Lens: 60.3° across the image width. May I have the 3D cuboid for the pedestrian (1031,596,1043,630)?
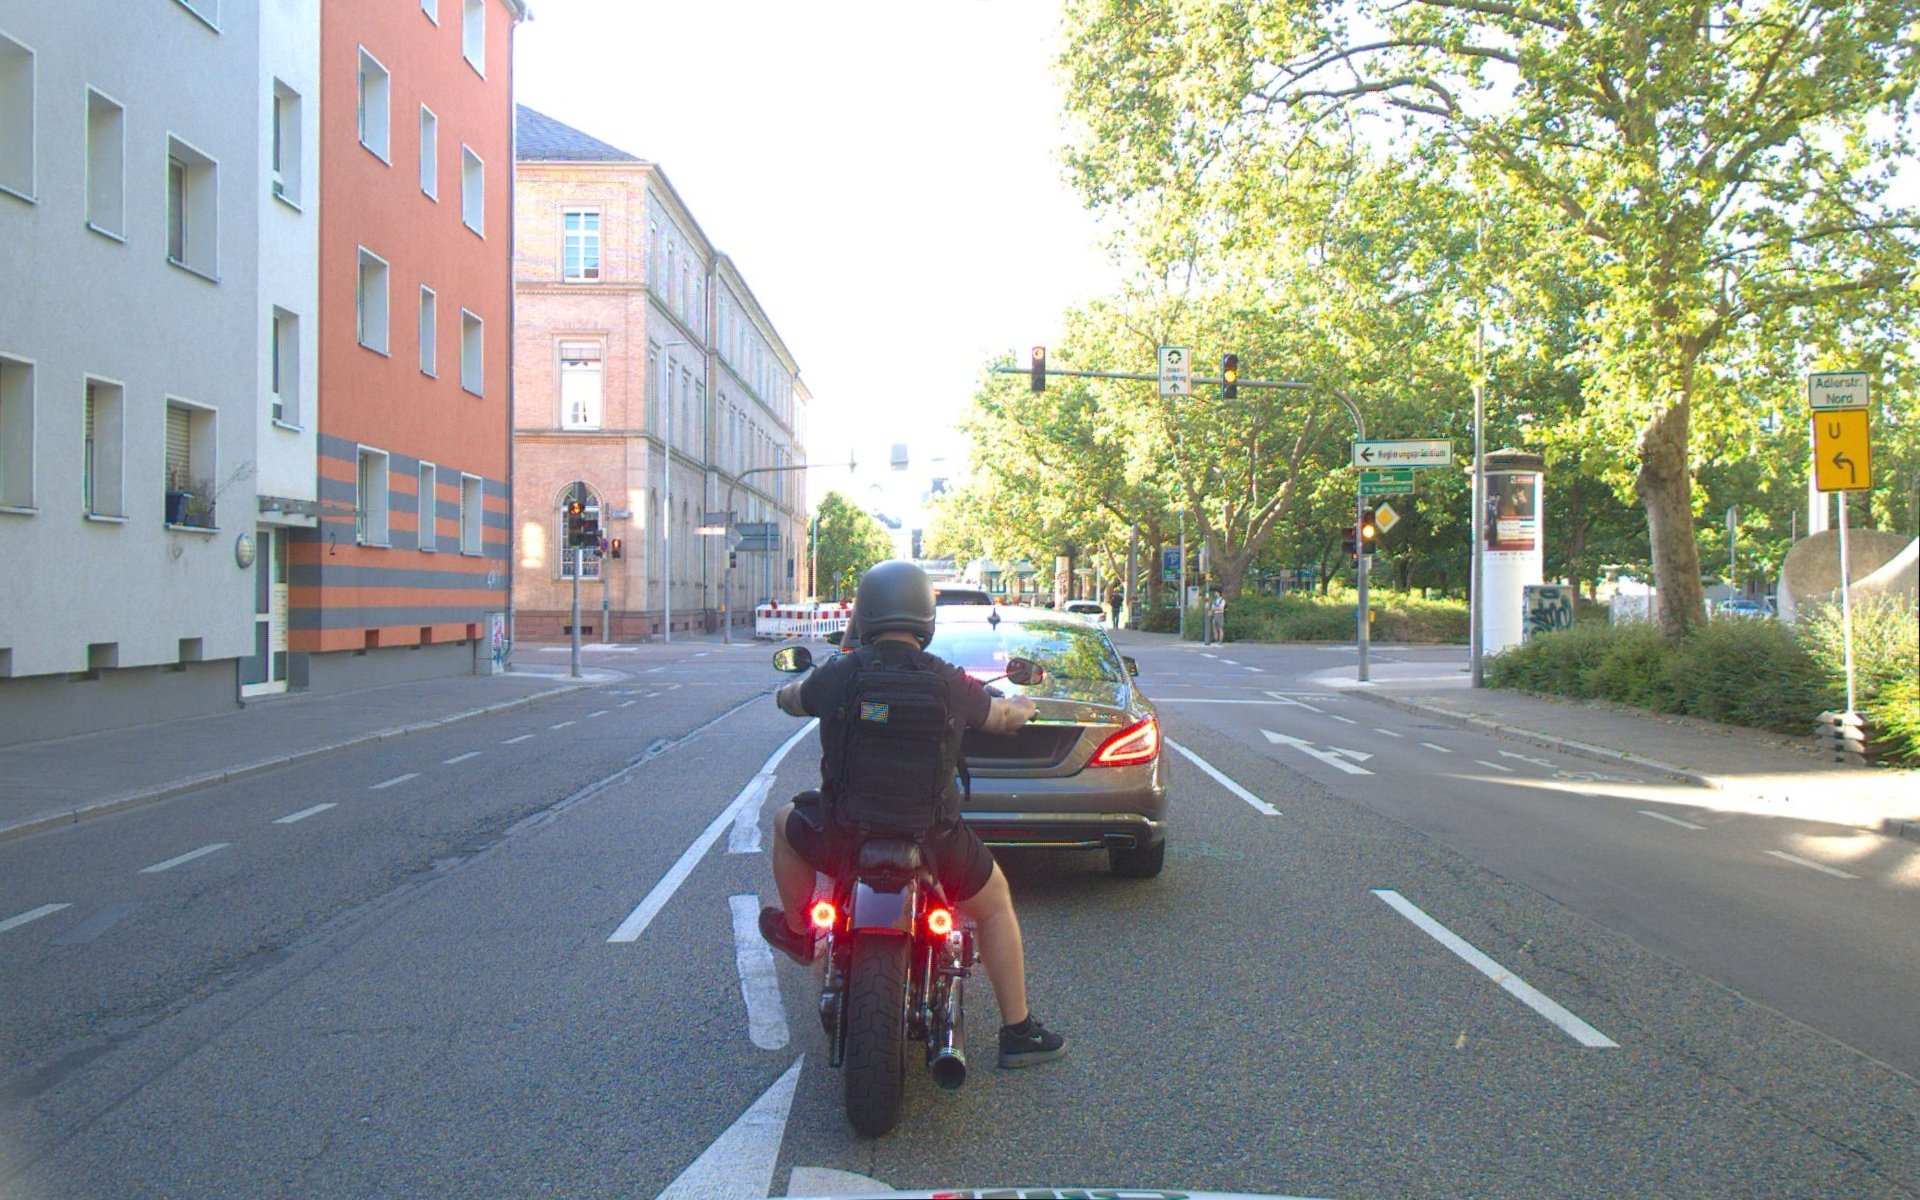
[{"bbox_3d":[4.688,0.766,100.807,0.643,2.049,0.933,1,-1,-1],"label":"pedestrian"}]

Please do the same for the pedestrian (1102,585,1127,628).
[{"bbox_3d":[7.167,0.303,76.814,0.741,1.943,0.917,1,-1,-29],"label":"pedestrian"}]

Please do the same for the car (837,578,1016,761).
[{"bbox_3d":[-0.326,0.609,16.727,1.588,1.622,3.999,0,0,-1],"label":"car"}]

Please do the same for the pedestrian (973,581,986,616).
[{"bbox_3d":[1.186,-0.088,100.872,0.748,2.087,0.712,1,-1,-1],"label":"pedestrian"}]

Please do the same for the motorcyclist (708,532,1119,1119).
[{"bbox_3d":[-0.137,0.634,5.273,1.125,1.626,1.288,1,0,-1],"label":"motorcyclist"}]

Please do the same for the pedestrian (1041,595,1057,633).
[{"bbox_3d":[4.843,0.779,90.144,0.797,2.049,1.270,1,0,-1],"label":"pedestrian"}]

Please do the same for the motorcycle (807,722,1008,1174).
[{"bbox_3d":[-0.150,0.973,5.275,0.503,1.020,2.013,1,0,-1],"label":"motorcycle"}]

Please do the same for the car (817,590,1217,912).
[{"bbox_3d":[0.240,0.697,9.619,1.844,1.475,3.819,1,0,-1],"label":"car"}]

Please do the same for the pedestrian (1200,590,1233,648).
[{"bbox_3d":[8.309,0.614,53.647,0.980,1.858,1.077,1,0,5],"label":"pedestrian"}]

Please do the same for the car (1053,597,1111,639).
[{"bbox_3d":[4.328,0.618,59.288,1.740,1.453,3.801,0,0,-1],"label":"car"}]
